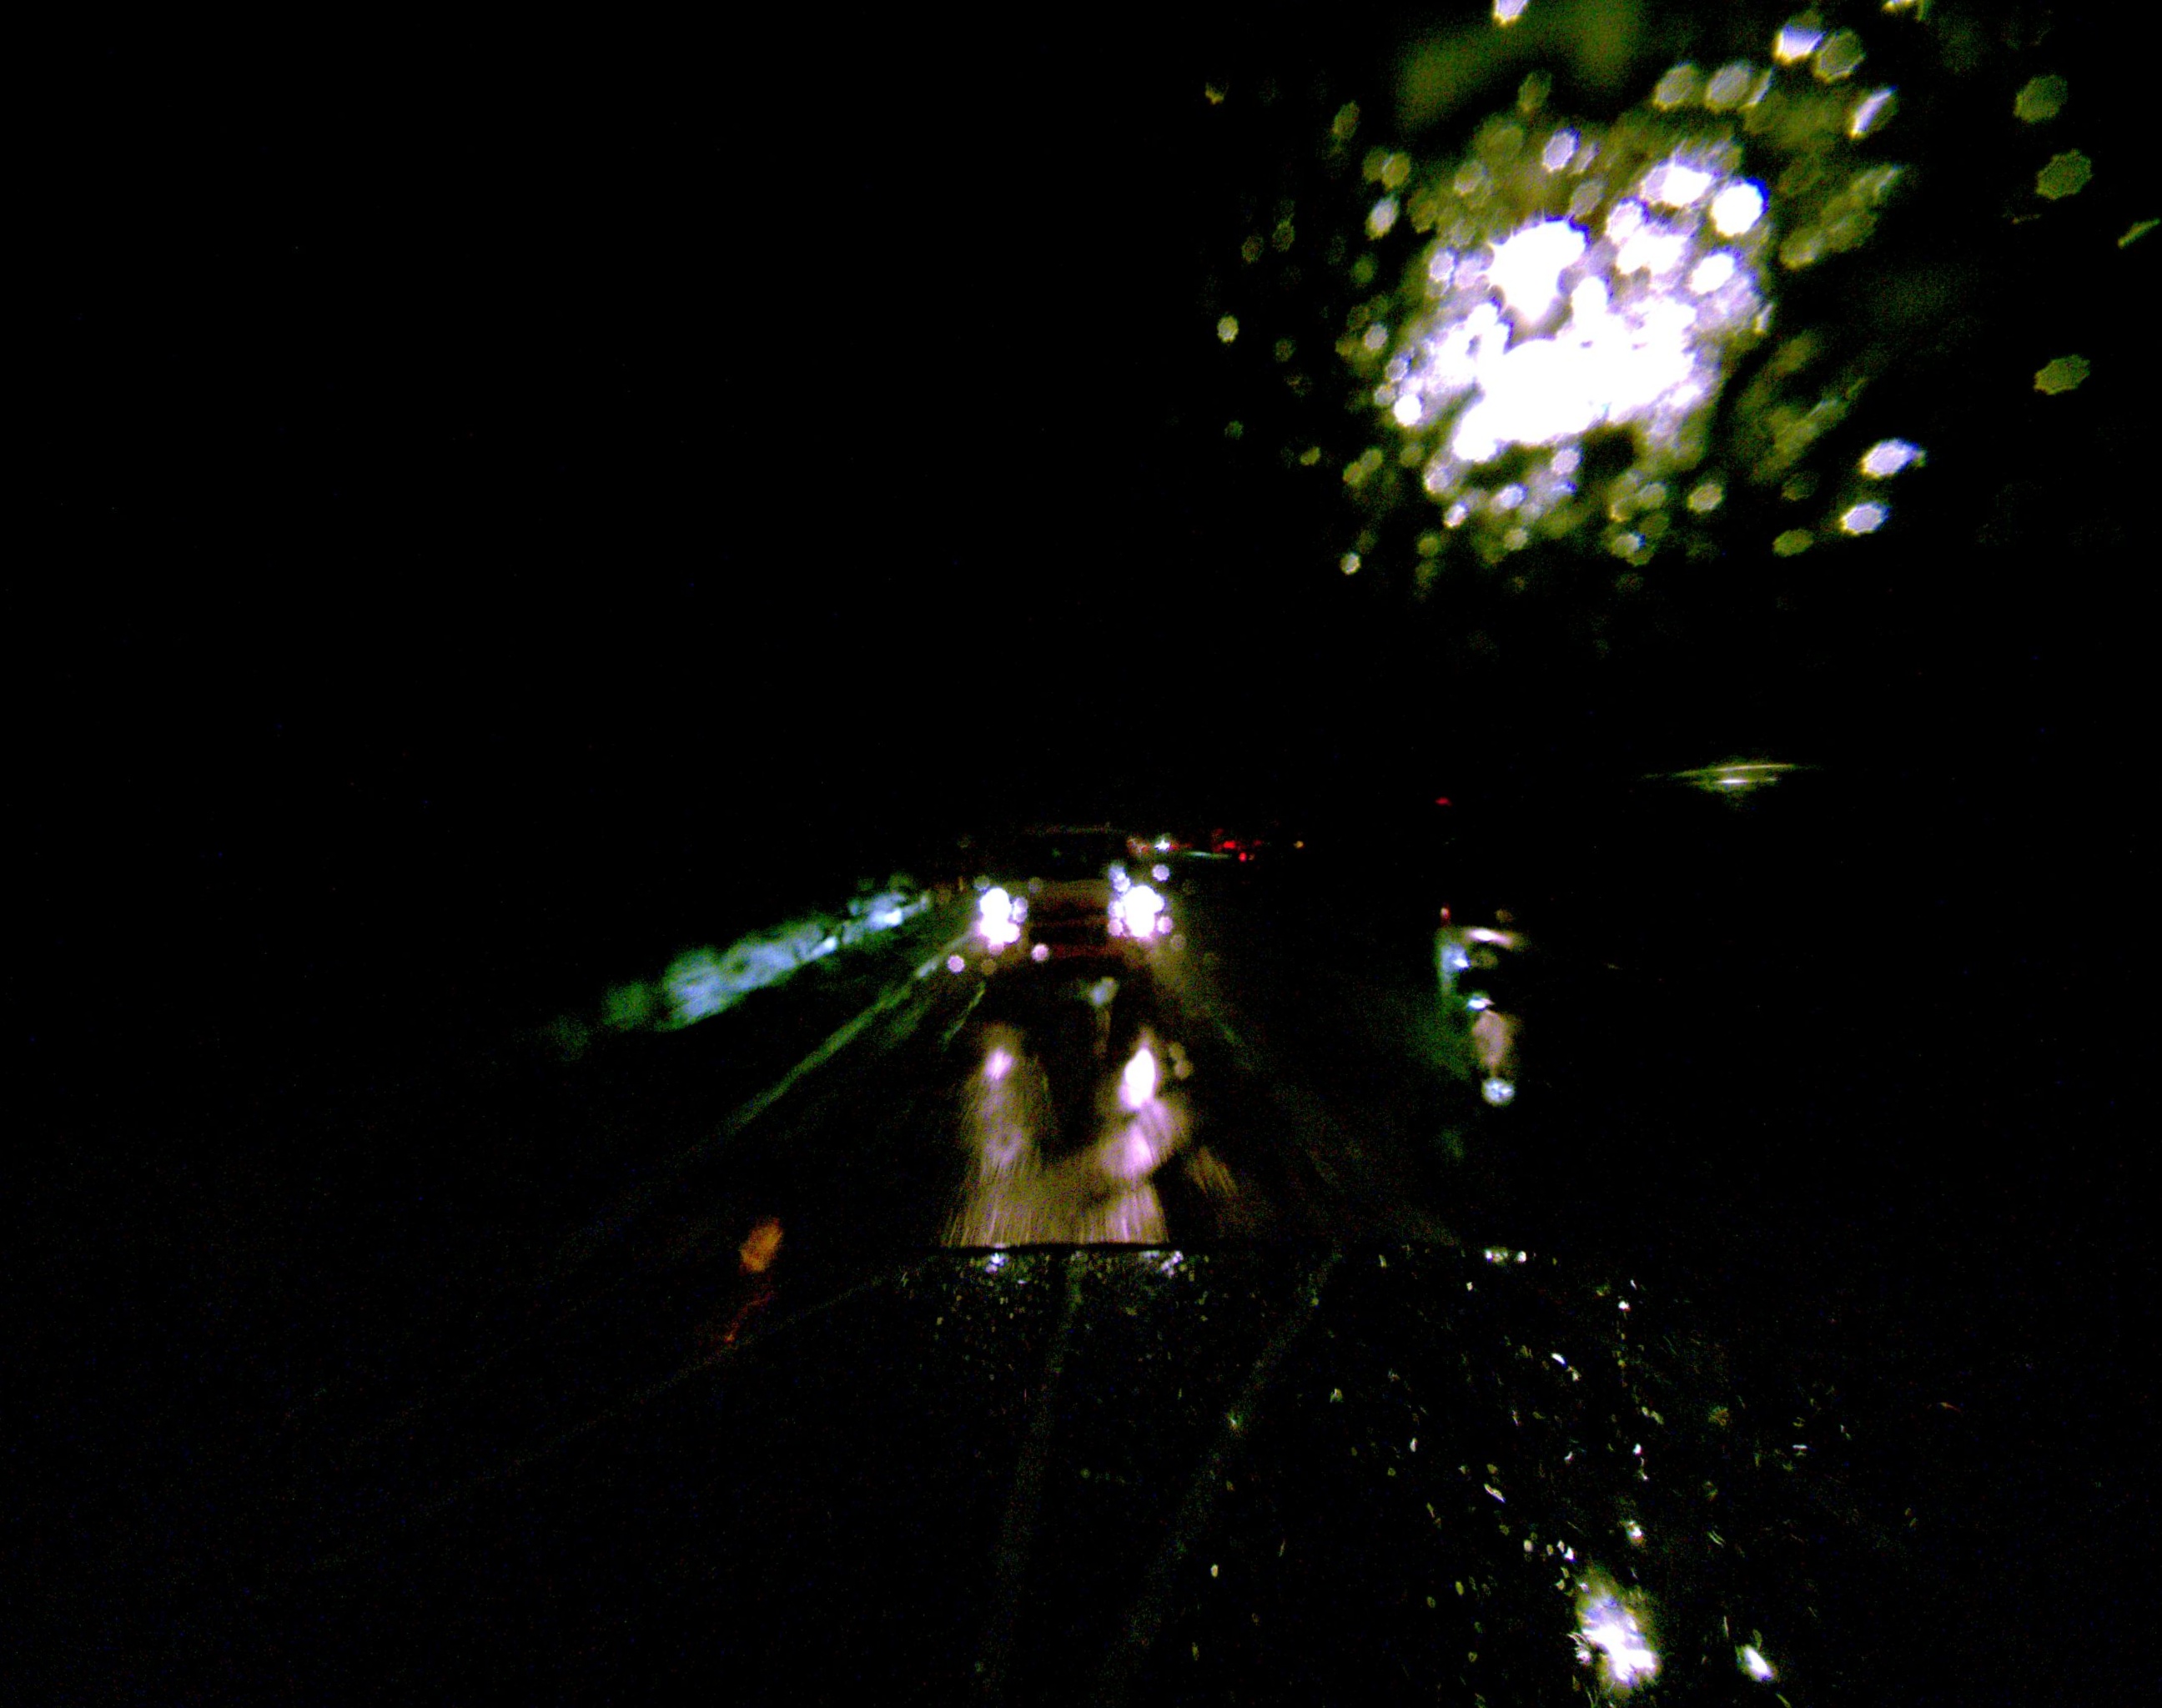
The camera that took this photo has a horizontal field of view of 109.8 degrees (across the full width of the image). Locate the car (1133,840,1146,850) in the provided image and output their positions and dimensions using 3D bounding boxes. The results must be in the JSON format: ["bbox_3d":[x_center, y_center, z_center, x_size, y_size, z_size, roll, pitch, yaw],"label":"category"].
[{"bbox_3d":[9.725,-1.464,126.521,1.750,1.495,4.891,-2,2,1],"label":"car"}]

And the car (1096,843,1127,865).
[{"bbox_3d":[2.288,-0.054,58.246,1.999,1.456,3.997,-2,2,-2],"label":"car"}]

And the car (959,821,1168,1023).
[{"bbox_3d":[-0.044,0.588,9.099,1.877,1.825,4.205,-2,1,3],"label":"car"}]

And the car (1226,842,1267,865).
[{"bbox_3d":[11.897,-0.063,54.869,1.658,1.490,4.372,1,1,-4],"label":"car"}]

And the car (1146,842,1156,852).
[{"bbox_3d":[15.991,-1.656,173.756,1.997,2.003,4.000,-1,2,7],"label":"car"}]

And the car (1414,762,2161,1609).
[{"bbox_3d":[3.100,0.626,2.394,1.914,1.694,4.937,-1,1,0],"label":"car"}]
